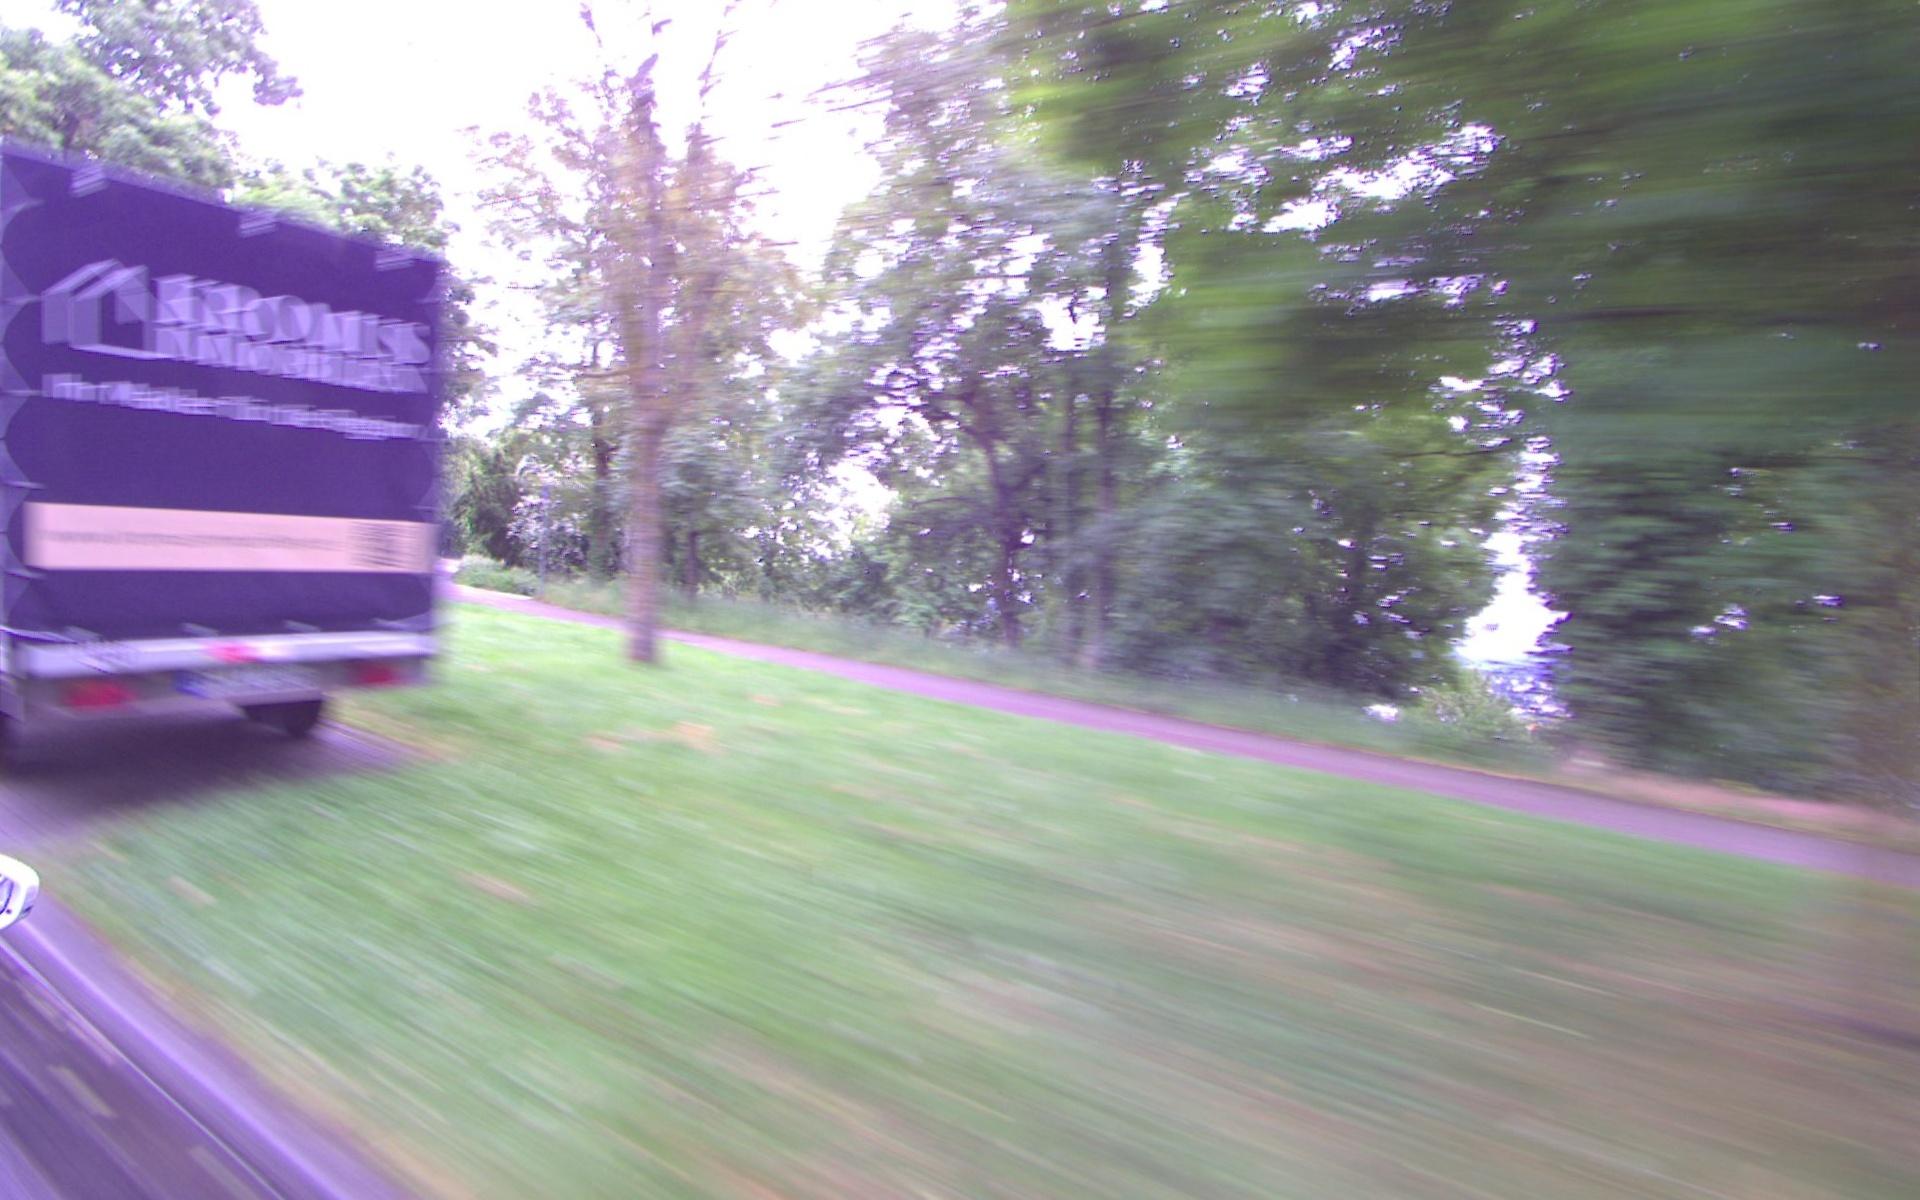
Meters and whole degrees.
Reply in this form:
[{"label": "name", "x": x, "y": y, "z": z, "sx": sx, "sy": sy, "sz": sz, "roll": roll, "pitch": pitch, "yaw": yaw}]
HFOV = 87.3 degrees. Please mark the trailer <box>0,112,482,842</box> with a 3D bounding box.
[{"label": "trailer", "x": -5.437, "y": -0.720, "z": 6.324, "sx": 5.521, "sy": 2.849, "sz": 1.989, "roll": 7, "pitch": 6, "yaw": 36}]
